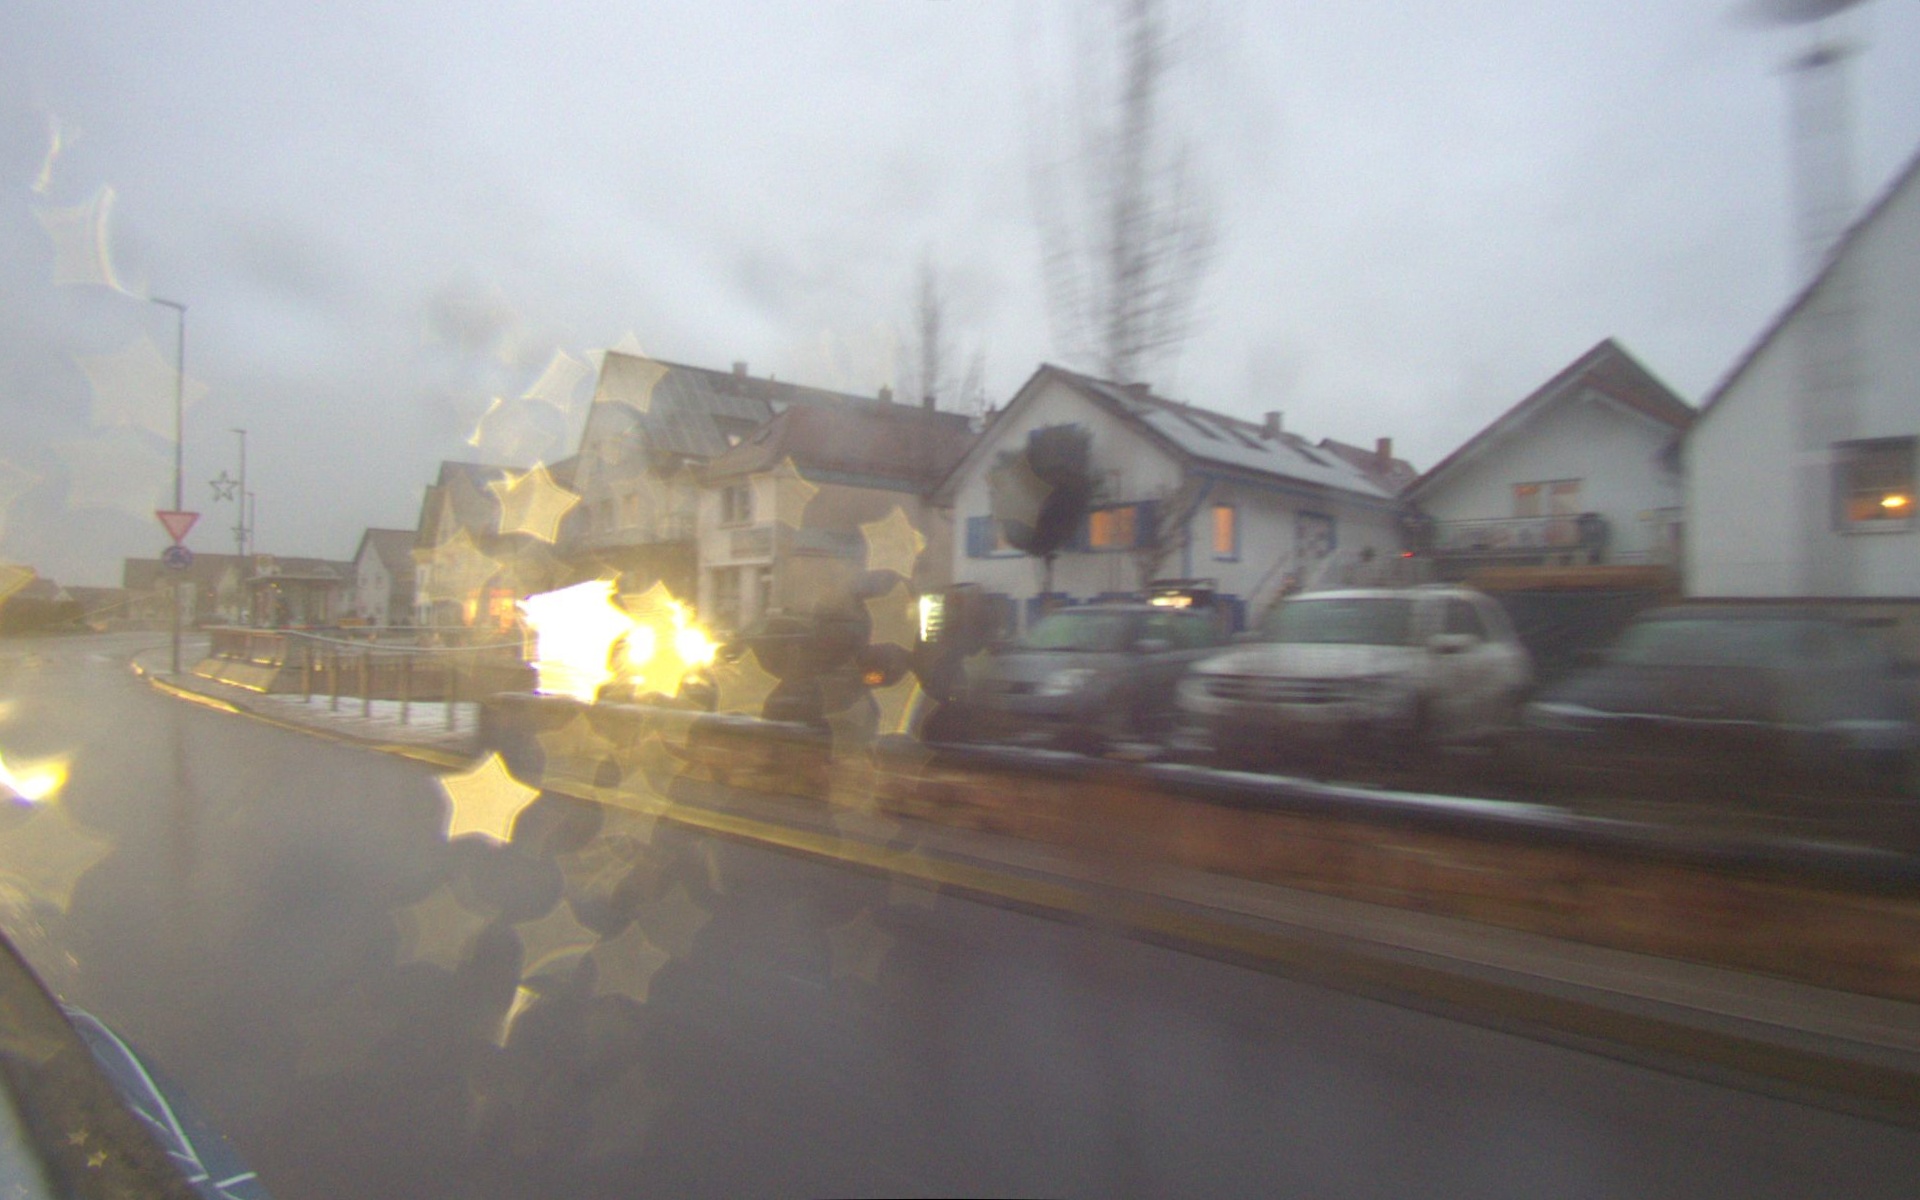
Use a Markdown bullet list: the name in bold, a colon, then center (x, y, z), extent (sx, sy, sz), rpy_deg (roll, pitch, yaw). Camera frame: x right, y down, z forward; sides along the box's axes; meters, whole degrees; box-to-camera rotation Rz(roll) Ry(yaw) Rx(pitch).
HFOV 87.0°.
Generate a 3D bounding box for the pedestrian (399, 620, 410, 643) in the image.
- **pedestrian**: center (-39.751, 2.272, 72.466), extent (0.500, 1.623, 0.574), rpy_deg (2, 2, 45)

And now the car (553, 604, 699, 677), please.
- **car**: center (-8.641, 1.046, 25.992), extent (1.734, 1.714, 4.568), rpy_deg (4, -4, -43)

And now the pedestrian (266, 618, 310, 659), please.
- **pedestrian**: center (-19.783, 1.133, 29.774), extent (0.976, 1.167, 0.903), rpy_deg (0, -2, -40)

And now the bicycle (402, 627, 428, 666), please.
- **bicycle**: center (-14.877, 1.257, 27.627), extent (0.463, 1.017, 1.744), rpy_deg (1, -1, -33)

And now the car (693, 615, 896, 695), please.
- **car**: center (-3.555, 1.117, 21.243), extent (4.571, 1.494, 1.782), rpy_deg (-2, -3, 43)

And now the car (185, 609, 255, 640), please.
- **car**: center (-52.111, 1.722, 71.301), extent (3.962, 2.010, 1.963), rpy_deg (1, 1, 14)

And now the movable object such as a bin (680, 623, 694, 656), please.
- **movable object such as a bin**: center (-9.651, 1.401, 35.748), extent (0.284, 1.129, 0.454), rpy_deg (-1, 2, -44)

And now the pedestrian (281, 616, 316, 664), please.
- **pedestrian**: center (-18.501, 1.112, 28.313), extent (0.751, 1.281, 0.677), rpy_deg (-2, 0, 45)

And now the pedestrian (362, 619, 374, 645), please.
- **pedestrian**: center (-38.803, 2.098, 66.344), extent (0.500, 1.623, 0.574), rpy_deg (2, 2, 45)

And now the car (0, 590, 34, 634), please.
- **car**: center (-46.693, 0.546, 48.965), extent (2.024, 2.001, 4.551), rpy_deg (0, 2, -32)

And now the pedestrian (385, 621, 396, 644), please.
- **pedestrian**: center (-40.197, 2.289, 71.440), extent (0.500, 1.623, 0.574), rpy_deg (2, 2, 45)

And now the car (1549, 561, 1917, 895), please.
- **car**: center (5.467, 0.621, 6.941), extent (1.587, 1.620, 4.048), rpy_deg (0, 0, 44)

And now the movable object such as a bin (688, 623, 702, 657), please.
- **movable object such as a bin**: center (-9.254, 1.400, 35.301), extent (0.284, 1.151, 0.454), rpy_deg (-1, 2, -44)

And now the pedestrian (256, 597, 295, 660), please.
- **pedestrian**: center (-19.315, 0.793, 28.568), extent (0.687, 1.755, 0.740), rpy_deg (-2, 0, 41)

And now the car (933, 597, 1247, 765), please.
- **car**: center (1.448, 0.698, 10.332), extent (1.599, 1.383, 3.410), rpy_deg (-2, -1, 39)

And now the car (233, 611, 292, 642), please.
- **car**: center (-50.712, 1.899, 73.615), extent (3.952, 2.028, 1.908), rpy_deg (1, 2, 27)

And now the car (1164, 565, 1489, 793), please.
- **car**: center (3.364, 0.531, 8.837), extent (1.711, 1.534, 3.760), rpy_deg (0, 0, 36)
